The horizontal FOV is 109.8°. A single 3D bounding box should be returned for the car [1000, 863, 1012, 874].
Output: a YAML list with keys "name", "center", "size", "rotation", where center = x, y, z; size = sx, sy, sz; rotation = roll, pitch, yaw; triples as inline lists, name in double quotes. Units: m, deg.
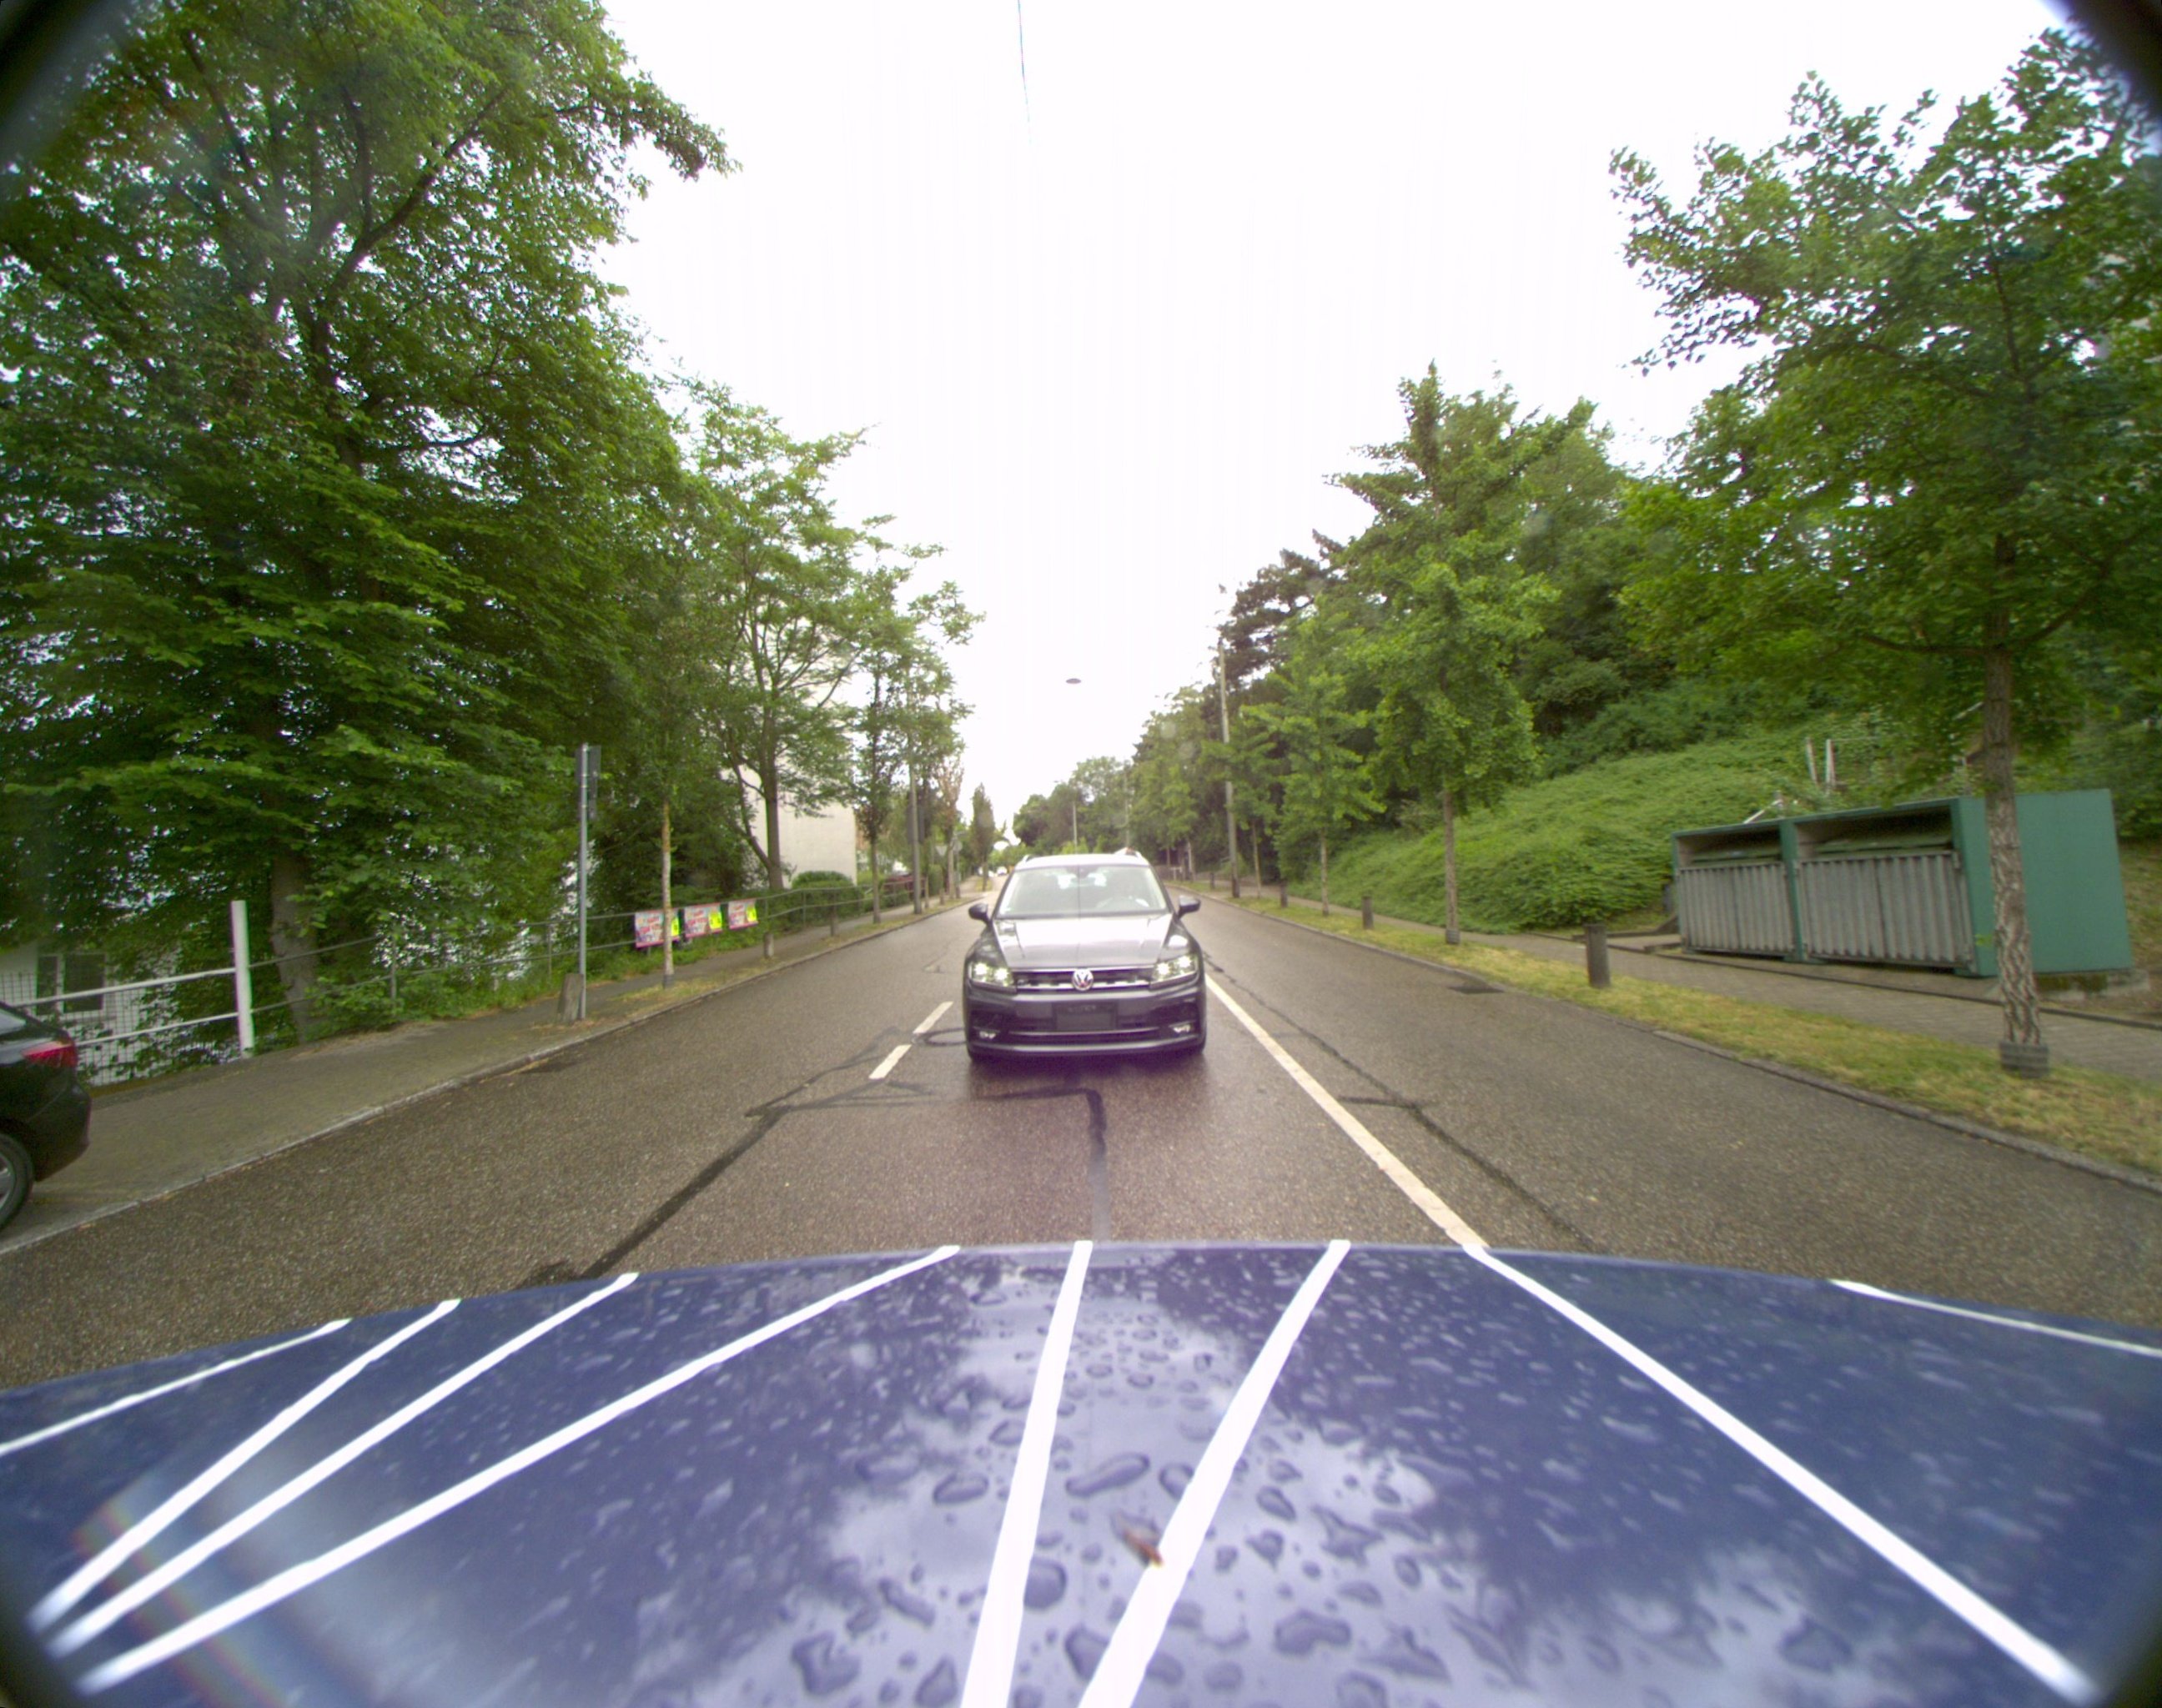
- name: "car"
  center: [-13.313, 2.572, 134.915]
  size: [1.893, 1.710, 4.235]
  rotation: [-1, 1, -6]

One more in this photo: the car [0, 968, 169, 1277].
- name: "car"
  center: [-6.333, 1.390, 2.222]
  size: [1.999, 1.426, 4.442]
  rotation: [-1, 0, -1]

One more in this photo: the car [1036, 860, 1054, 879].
- name: "car"
  center: [-4.141, 1.715, 86.628]
  size: [1.835, 2.003, 4.055]
  rotation: [-3, 1, -5]

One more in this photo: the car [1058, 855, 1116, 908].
- name: "car"
  center: [0.221, 0.910, 27.080]
  size: [1.834, 1.608, 4.350]
  rotation: [-3, 1, 1]

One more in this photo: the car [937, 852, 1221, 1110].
- name: "car"
  center: [0.017, 0.856, 7.259]
  size: [1.834, 1.608, 4.292]
  rotation: [-3, 1, 1]
